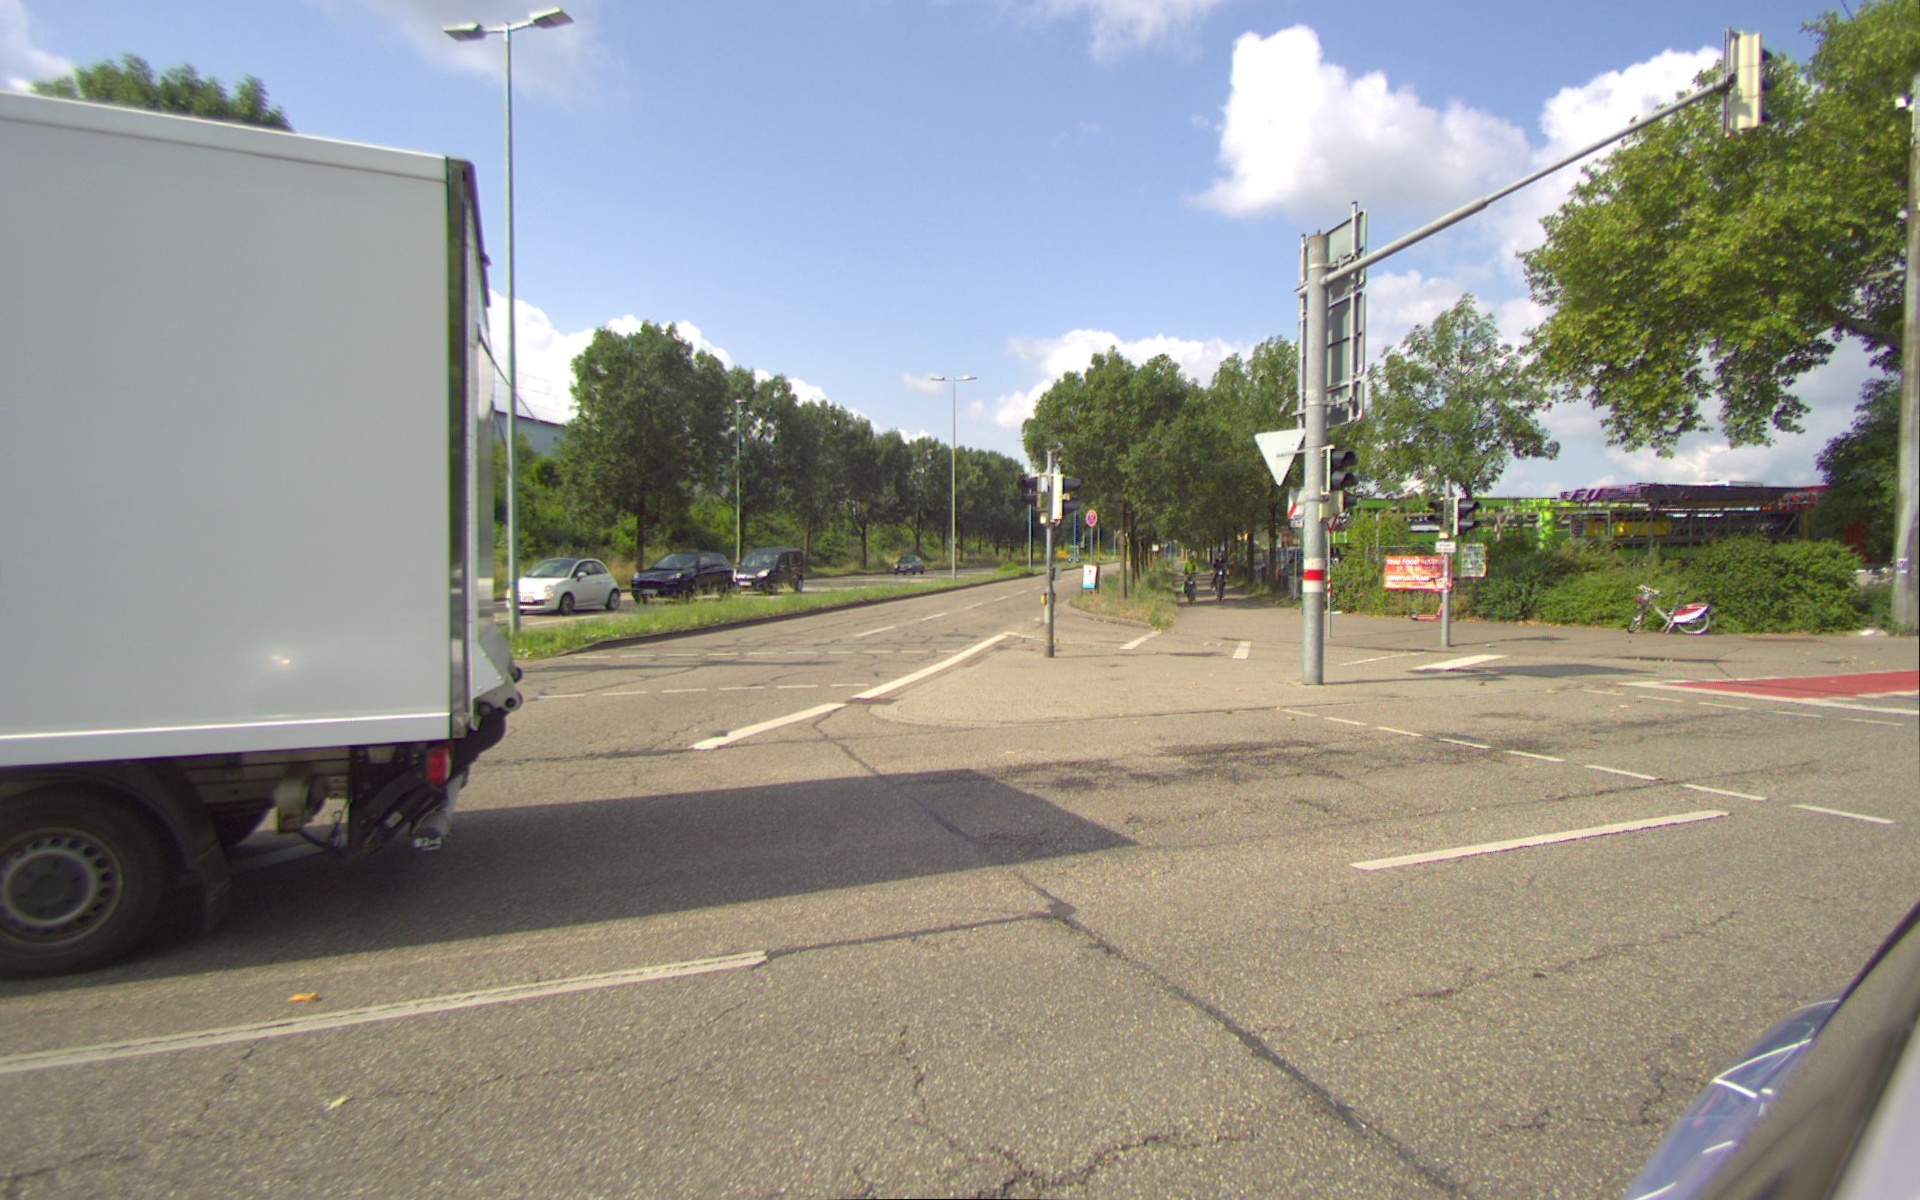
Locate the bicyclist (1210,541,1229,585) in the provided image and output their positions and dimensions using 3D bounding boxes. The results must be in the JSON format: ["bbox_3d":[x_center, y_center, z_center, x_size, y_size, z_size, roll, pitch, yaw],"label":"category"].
[{"bbox_3d":[10.160,-1.440,39.556,0.668,1.707,0.751,1,1,17],"label":"bicyclist"}]

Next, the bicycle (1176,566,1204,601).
[{"bbox_3d":[8.433,-0.600,37.147,0.666,1.211,2.229,-2,-1,5],"label":"bicycle"}]

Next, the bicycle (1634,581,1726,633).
[{"bbox_3d":[16.035,0.137,22.569,1.629,1.054,0.521,2,5,40],"label":"bicycle"}]

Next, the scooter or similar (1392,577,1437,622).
[{"bbox_3d":[11.876,-0.021,26.443,0.401,1.125,1.013,0,1,-29],"label":"scooter or similar"}]

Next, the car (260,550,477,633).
[{"bbox_3d":[-12.007,-0.227,20.837,1.716,1.538,3.813,1,2,14],"label":"car"}]

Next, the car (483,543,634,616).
[{"bbox_3d":[-10.769,-0.614,27.469,1.946,1.770,4.013,2,3,11],"label":"car"}]

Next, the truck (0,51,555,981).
[{"bbox_3d":[-4.864,-0.311,4.076,5.902,3.160,2.460,0,1,-24],"label":"truck"}]

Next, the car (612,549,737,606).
[{"bbox_3d":[-9.321,-0.818,33.468,1.794,1.663,4.783,3,4,15],"label":"car"}]

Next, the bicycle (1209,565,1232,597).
[{"bbox_3d":[10.203,-0.770,39.528,0.781,1.211,2.222,1,2,17],"label":"bicycle"}]

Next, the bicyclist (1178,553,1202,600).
[{"bbox_3d":[8.453,-0.854,37.224,0.665,1.701,0.836,-2,-1,4],"label":"bicyclist"}]

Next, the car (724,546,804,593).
[{"bbox_3d":[-7.728,-1.263,40.345,1.618,1.654,4.193,2,4,12],"label":"car"}]

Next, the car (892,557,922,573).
[{"bbox_3d":[-3.899,-2.561,74.524,1.519,1.062,3.361,2,1,9],"label":"car"}]
